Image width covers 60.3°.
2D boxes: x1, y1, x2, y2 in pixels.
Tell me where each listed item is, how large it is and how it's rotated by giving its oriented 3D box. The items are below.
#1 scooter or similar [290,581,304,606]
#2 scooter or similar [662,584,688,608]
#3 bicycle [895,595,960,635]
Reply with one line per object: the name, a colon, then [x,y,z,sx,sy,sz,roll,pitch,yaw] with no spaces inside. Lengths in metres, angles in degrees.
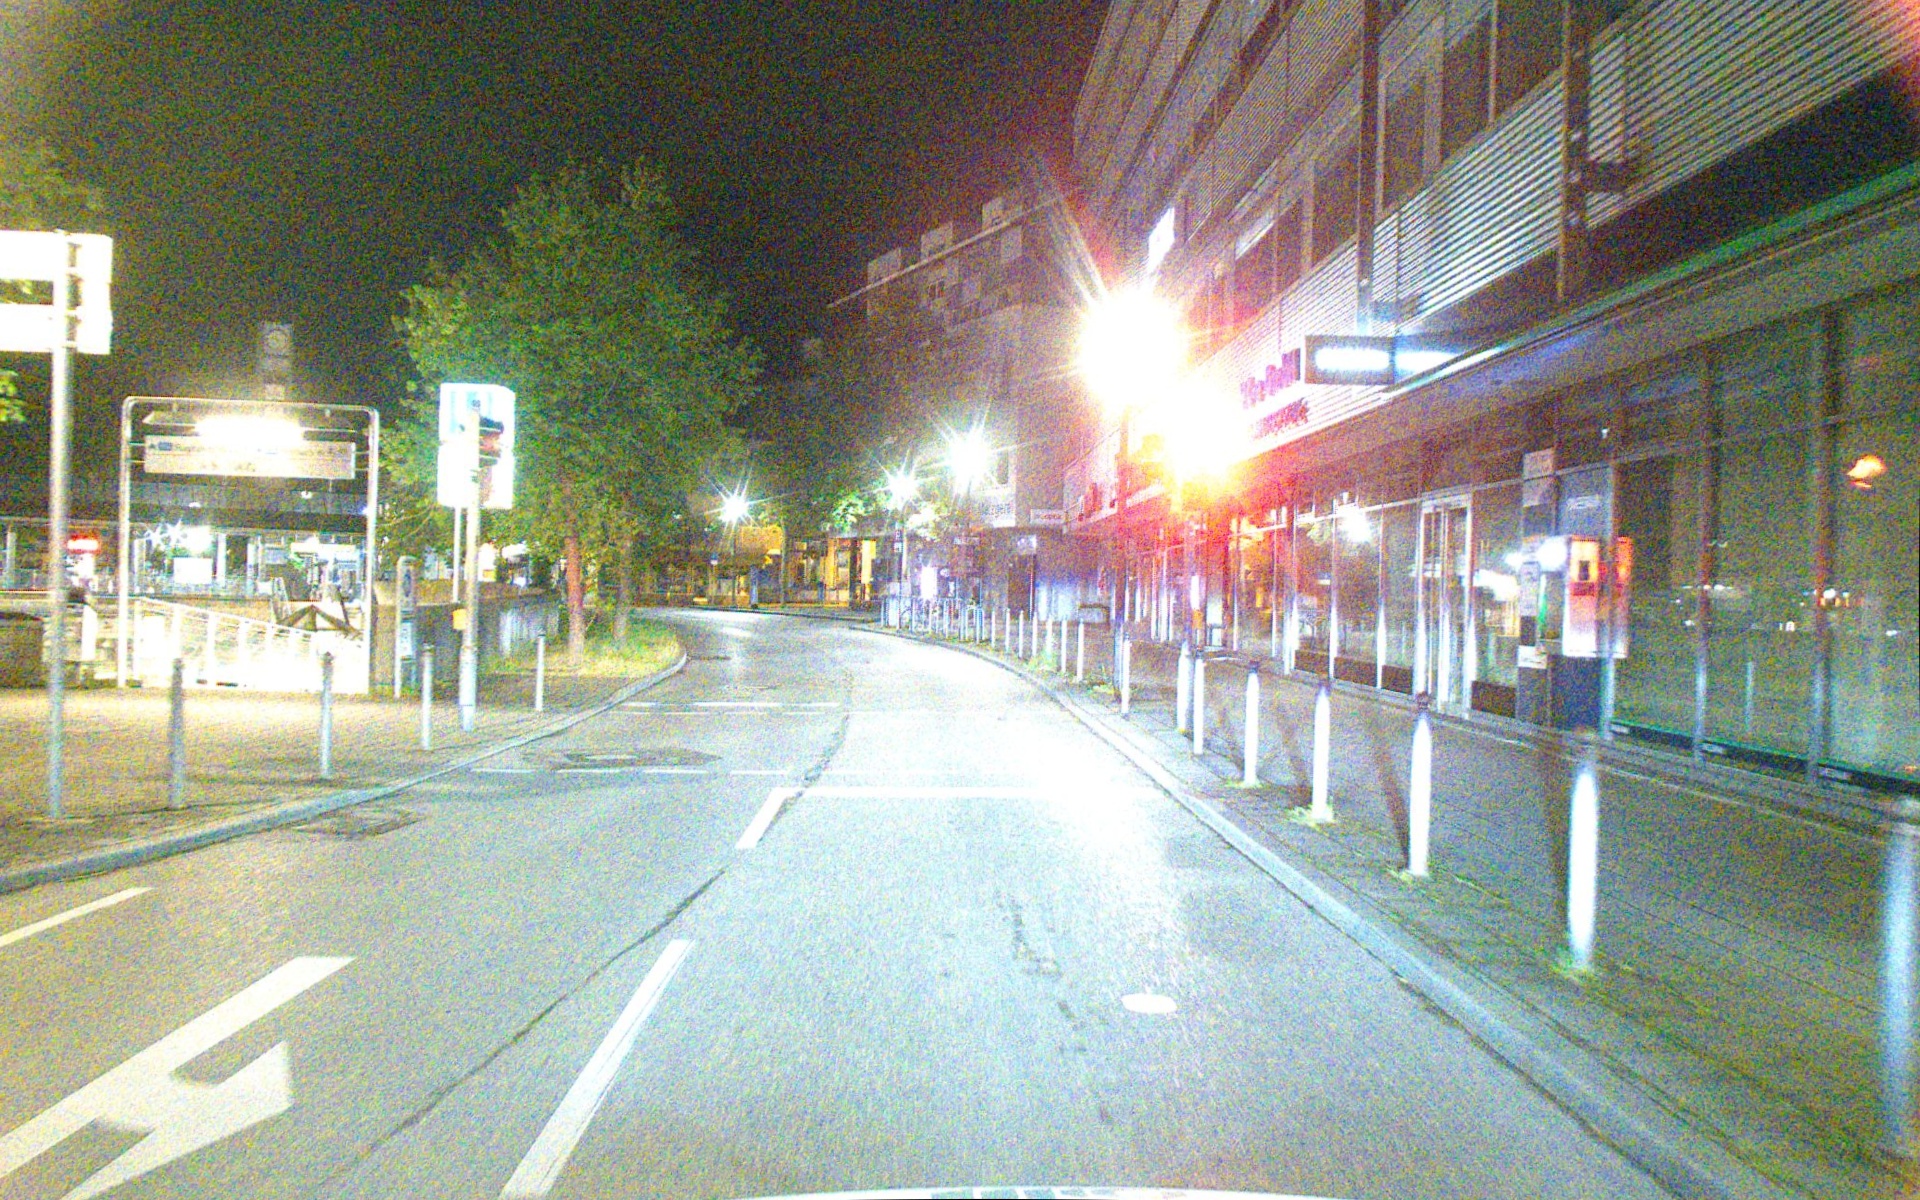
scooter or similar: [-35.635,-0.359,88.868,0.426,1.307,1.133,-1,2,-35]
scooter or similar: [-15.316,-0.226,88.855,1.232,1.248,0.593,2,1,-29]
bicycle: [-0.913,0.423,46.559,1.727,1.081,0.650,1,1,-26]
